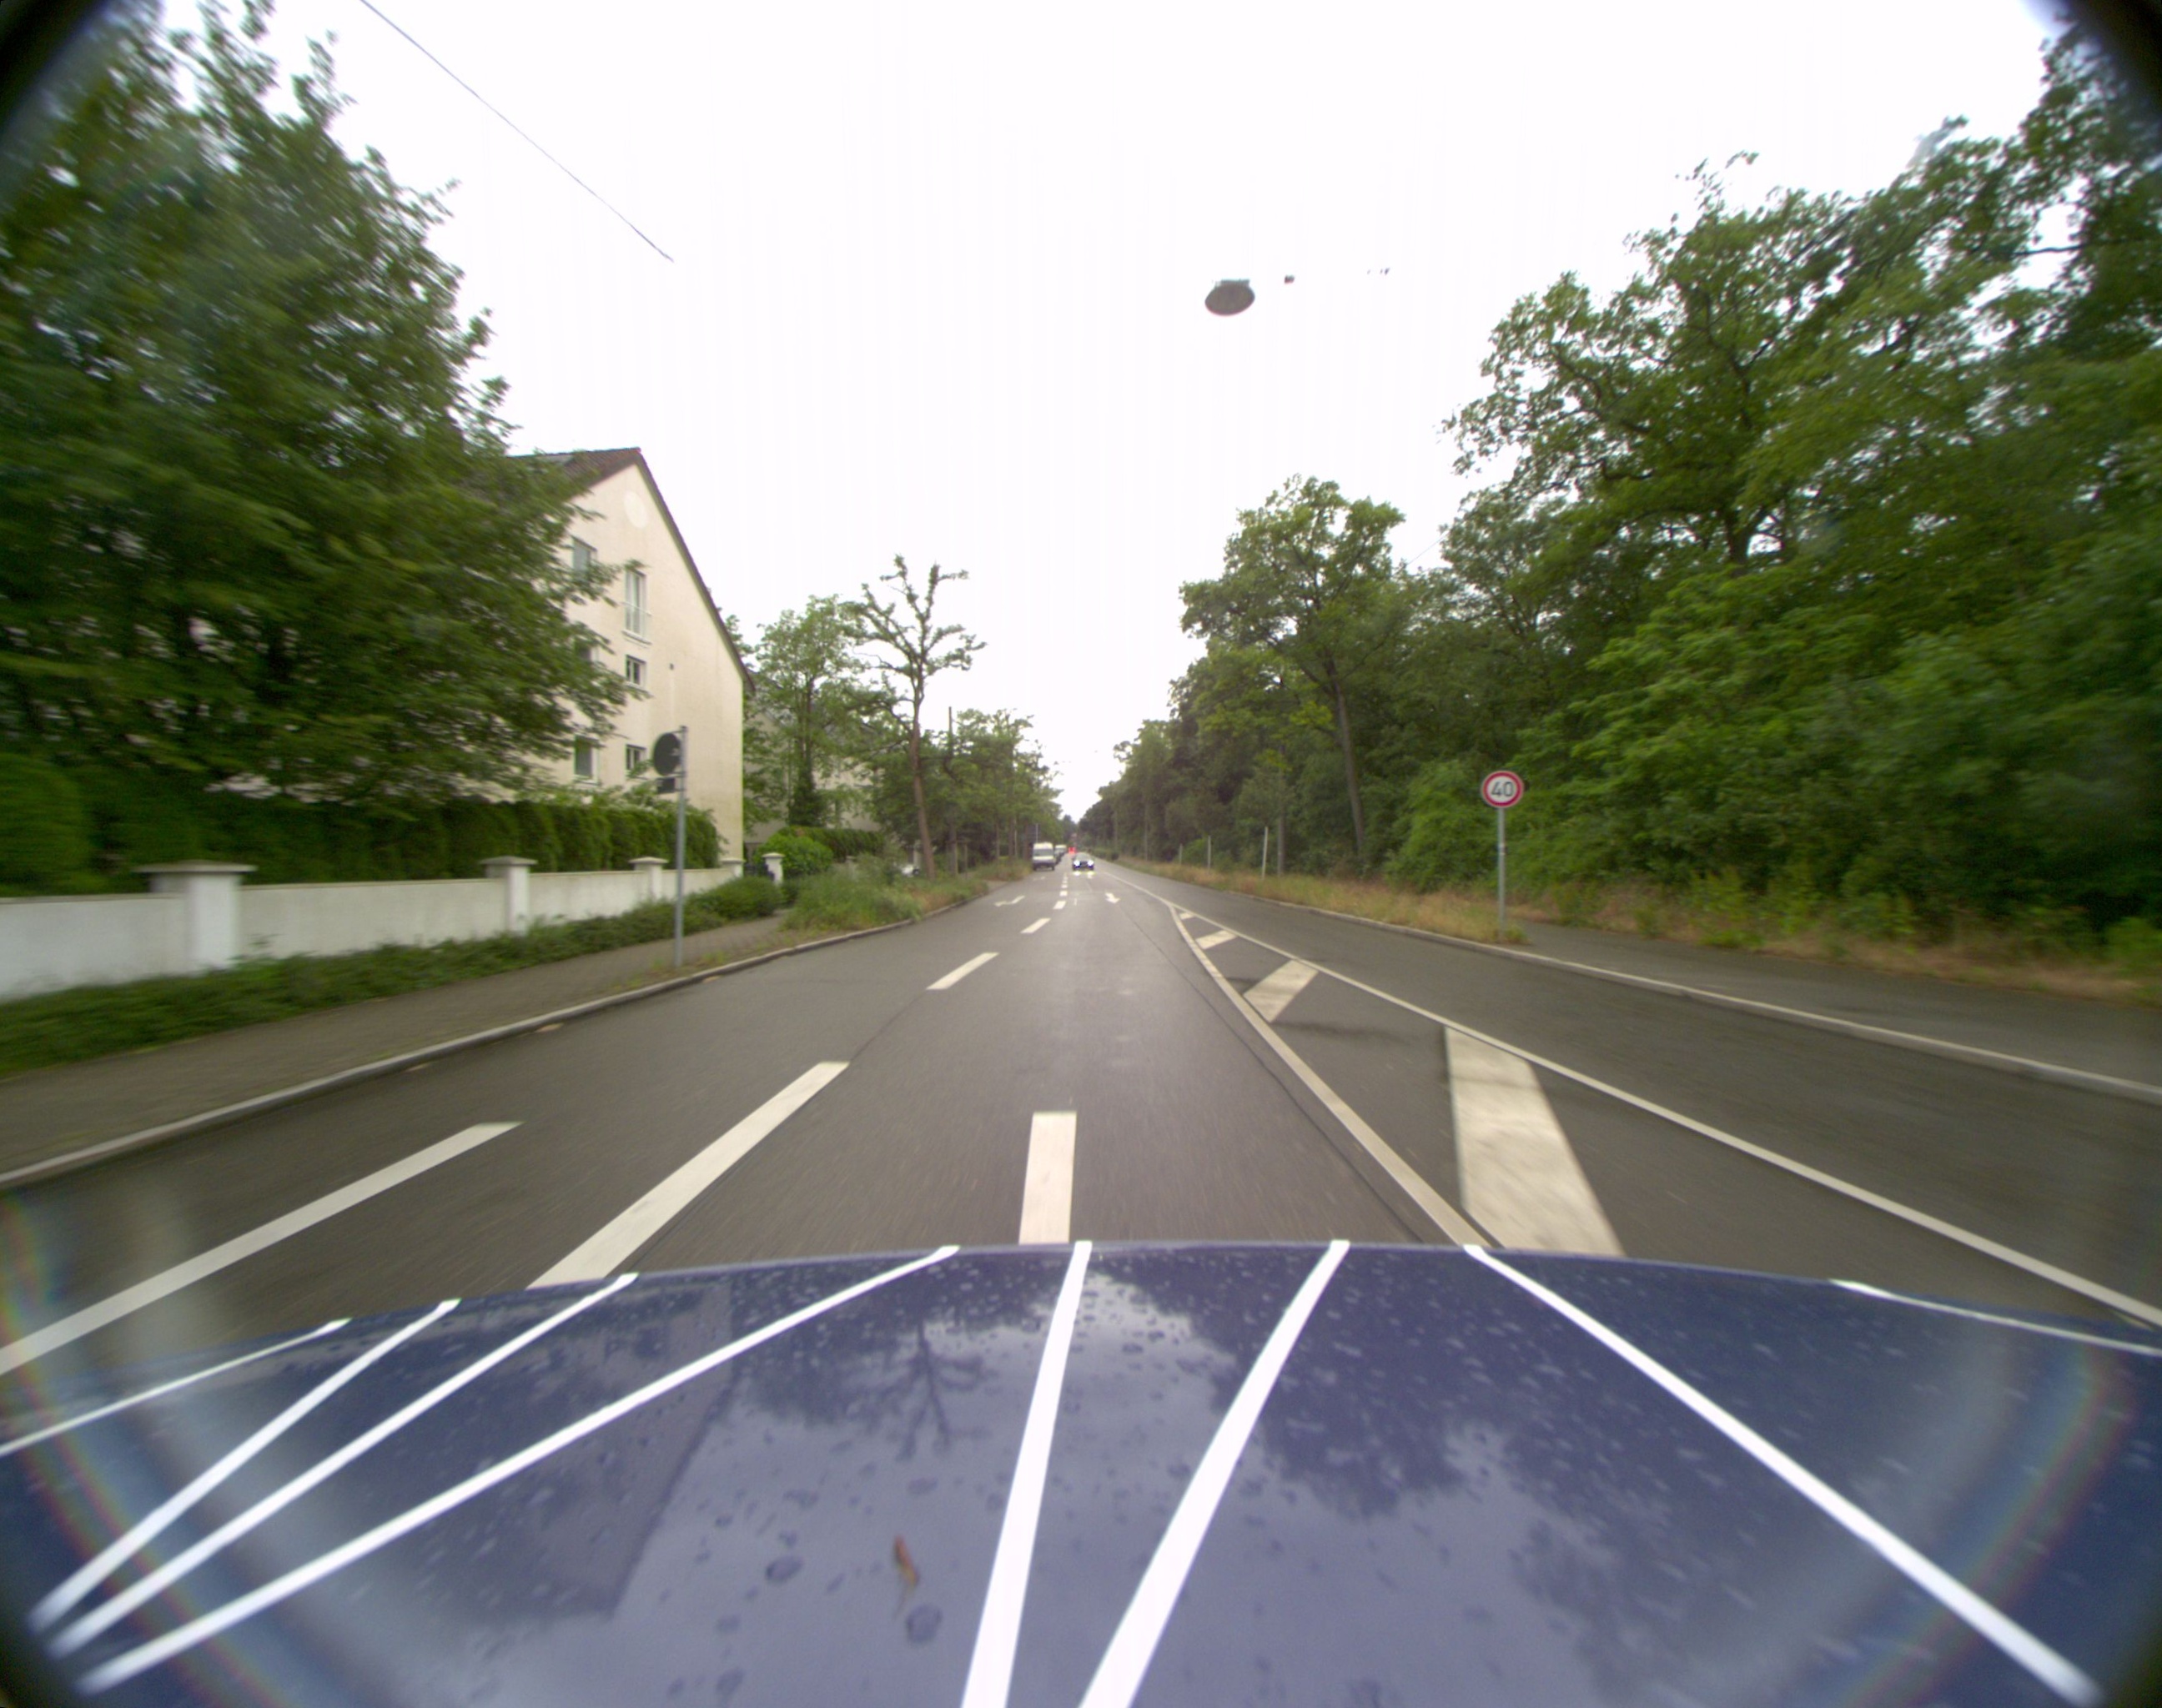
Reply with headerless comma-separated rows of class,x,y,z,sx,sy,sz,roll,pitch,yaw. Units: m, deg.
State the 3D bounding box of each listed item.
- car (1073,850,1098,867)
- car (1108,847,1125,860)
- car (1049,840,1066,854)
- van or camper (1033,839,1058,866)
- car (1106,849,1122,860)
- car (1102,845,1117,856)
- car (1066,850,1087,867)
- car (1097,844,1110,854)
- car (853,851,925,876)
car,0.384,0.395,67.288,1.945,1.446,4.602,1,0,-3
car,4.614,-0.065,99.502,1.945,1.594,4.603,1,0,-2
car,-2.753,-0.852,90.778,1.945,1.594,4.603,1,0,-2
van or camper,-3.237,-0.140,70.173,1.998,2.438,4.721,0,1,1
car,4.637,0.063,108.056,1.945,1.594,4.603,1,0,-2
car,4.256,-0.464,114.387,1.945,1.594,4.603,1,0,-2
car,-0.469,0.423,77.126,1.945,1.594,4.603,1,0,-2
car,3.811,-0.810,130.333,1.945,1.594,4.603,1,0,-2
car,-10.763,0.529,42.698,3.633,1.357,1.537,0,1,8
